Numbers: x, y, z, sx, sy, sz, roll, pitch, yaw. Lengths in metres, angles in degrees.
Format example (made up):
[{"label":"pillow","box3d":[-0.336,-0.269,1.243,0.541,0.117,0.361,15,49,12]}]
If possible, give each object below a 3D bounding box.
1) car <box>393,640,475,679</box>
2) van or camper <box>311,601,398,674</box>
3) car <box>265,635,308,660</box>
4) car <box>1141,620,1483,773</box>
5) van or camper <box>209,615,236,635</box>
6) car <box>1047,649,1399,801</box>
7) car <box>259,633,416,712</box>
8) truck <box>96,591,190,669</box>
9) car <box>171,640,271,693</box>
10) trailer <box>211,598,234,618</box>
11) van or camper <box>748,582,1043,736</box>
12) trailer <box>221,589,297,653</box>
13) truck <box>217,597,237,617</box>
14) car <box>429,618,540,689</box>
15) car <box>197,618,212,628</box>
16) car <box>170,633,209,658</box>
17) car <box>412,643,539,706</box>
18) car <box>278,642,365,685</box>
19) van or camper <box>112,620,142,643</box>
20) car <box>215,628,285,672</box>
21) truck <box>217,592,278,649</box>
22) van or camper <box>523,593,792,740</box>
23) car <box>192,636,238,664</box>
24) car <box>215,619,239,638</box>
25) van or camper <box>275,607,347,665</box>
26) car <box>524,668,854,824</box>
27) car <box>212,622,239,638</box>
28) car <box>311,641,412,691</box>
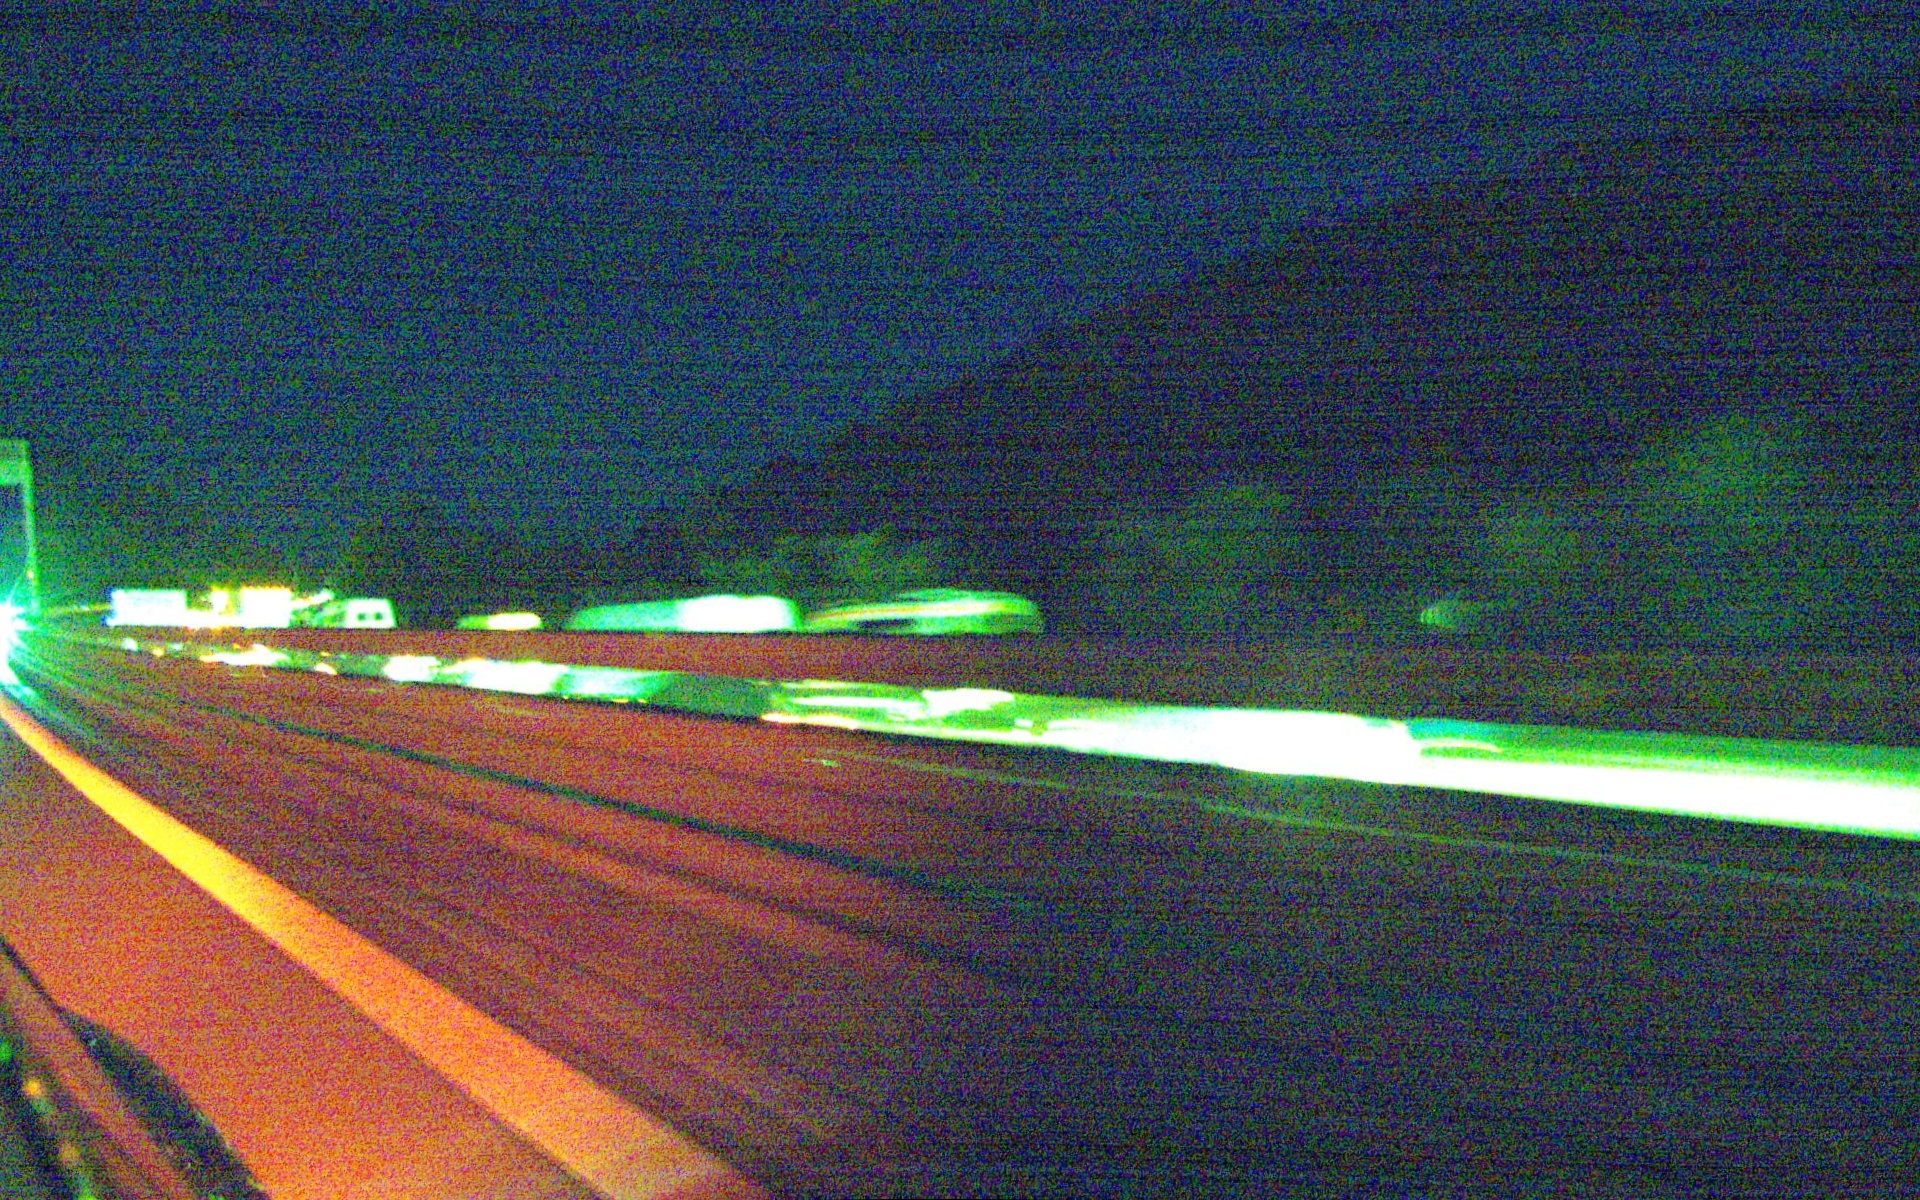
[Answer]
[{"label":"car","box3d":[-21.900,2.431,42.073,4.002,1.462,1.813,-1,-1,44]},{"label":"van or camper","box3d":[-30.076,1.789,50.195,5.695,3.405,2.244,-1,-1,43]},{"label":"car","box3d":[-41.969,2.945,63.047,1.581,1.453,4.004,1,-1,-43]},{"label":"car","box3d":[5.215,1.319,15.374,4.562,1.937,1.820,0,-2,41]},{"label":"van or camper","box3d":[-77.433,2.647,106.284,1.968,2.029,5.230,1,-1,-39]},{"label":"car","box3d":[3.139,1.394,12.481,3.839,1.464,1.730,0,-2,41]},{"label":"car","box3d":[-13.569,1.485,21.943,4.506,1.462,1.813,-1,-1,44]},{"label":"truck","box3d":[-41.498,1.405,51.262,8.552,3.618,2.625,0,1,44]},{"label":"car","box3d":[-23.598,2.066,32.261,4.506,1.462,1.799,-1,-1,44]},{"label":"trailer","box3d":[-150.887,1.520,207.014,2.500,3.741,10.159,-3,2,-29]},{"label":"van or camper","box3d":[-1.542,1.114,21.361,6.488,2.782,2.419,-1,-1,43]},{"label":"trailer","box3d":[-51.163,1.506,73.649,3.392,4.273,12.854,2,-2,-40]},{"label":"truck","box3d":[-154.280,1.433,213.102,2.567,3.771,6.777,-3,2,-29]},{"label":"car","box3d":[-17.418,1.866,36.958,5.448,2.388,1.813,-1,-1,44]},{"label":"car","box3d":[-112.755,3.391,150.993,1.793,1.480,4.289,0,0,-36]},{"label":"car","box3d":[-49.953,2.920,65.587,1.581,1.453,4.004,1,-1,-43]},{"label":"car","box3d":[-13.950,2.065,29.030,4.506,1.526,1.799,-1,-1,44]},{"label":"car","box3d":[-24.967,2.418,39.523,4.506,1.462,1.813,-1,-1,44]},{"label":"van or camper","box3d":[-75.181,2.851,91.321,2.004,2.029,4.584,2,-3,-39]},{"label":"car","box3d":[-35.347,2.459,50.332,3.998,2.029,1.973,-1,0,41]},{"label":"truck","box3d":[-56.062,1.582,79.537,3.375,4.255,6.293,2,-2,-40]},{"label":"van or camper","box3d":[-6.492,1.272,21.107,6.685,2.615,2.231,-1,-3,42]},{"label":"car","box3d":[-42.682,2.831,57.942,1.582,1.453,4.141,1,-1,-44]},{"label":"car","box3d":[-82.473,3.207,113.974,2.111,2.070,5.125,1,-1,-35]},{"label":"van or camper","box3d":[-35.312,1.898,55.003,6.401,2.994,1.813,-1,-1,44]},{"label":"car","box3d":[-3.652,1.728,13.121,4.710,1.557,1.736,-2,-2,40]},{"label":"car","box3d":[-68.827,2.775,94.832,1.581,1.453,4.004,1,-1,-43]},{"label":"car","box3d":[-20.255,2.181,34.175,4.506,1.462,1.799,-1,-1,44]}]
